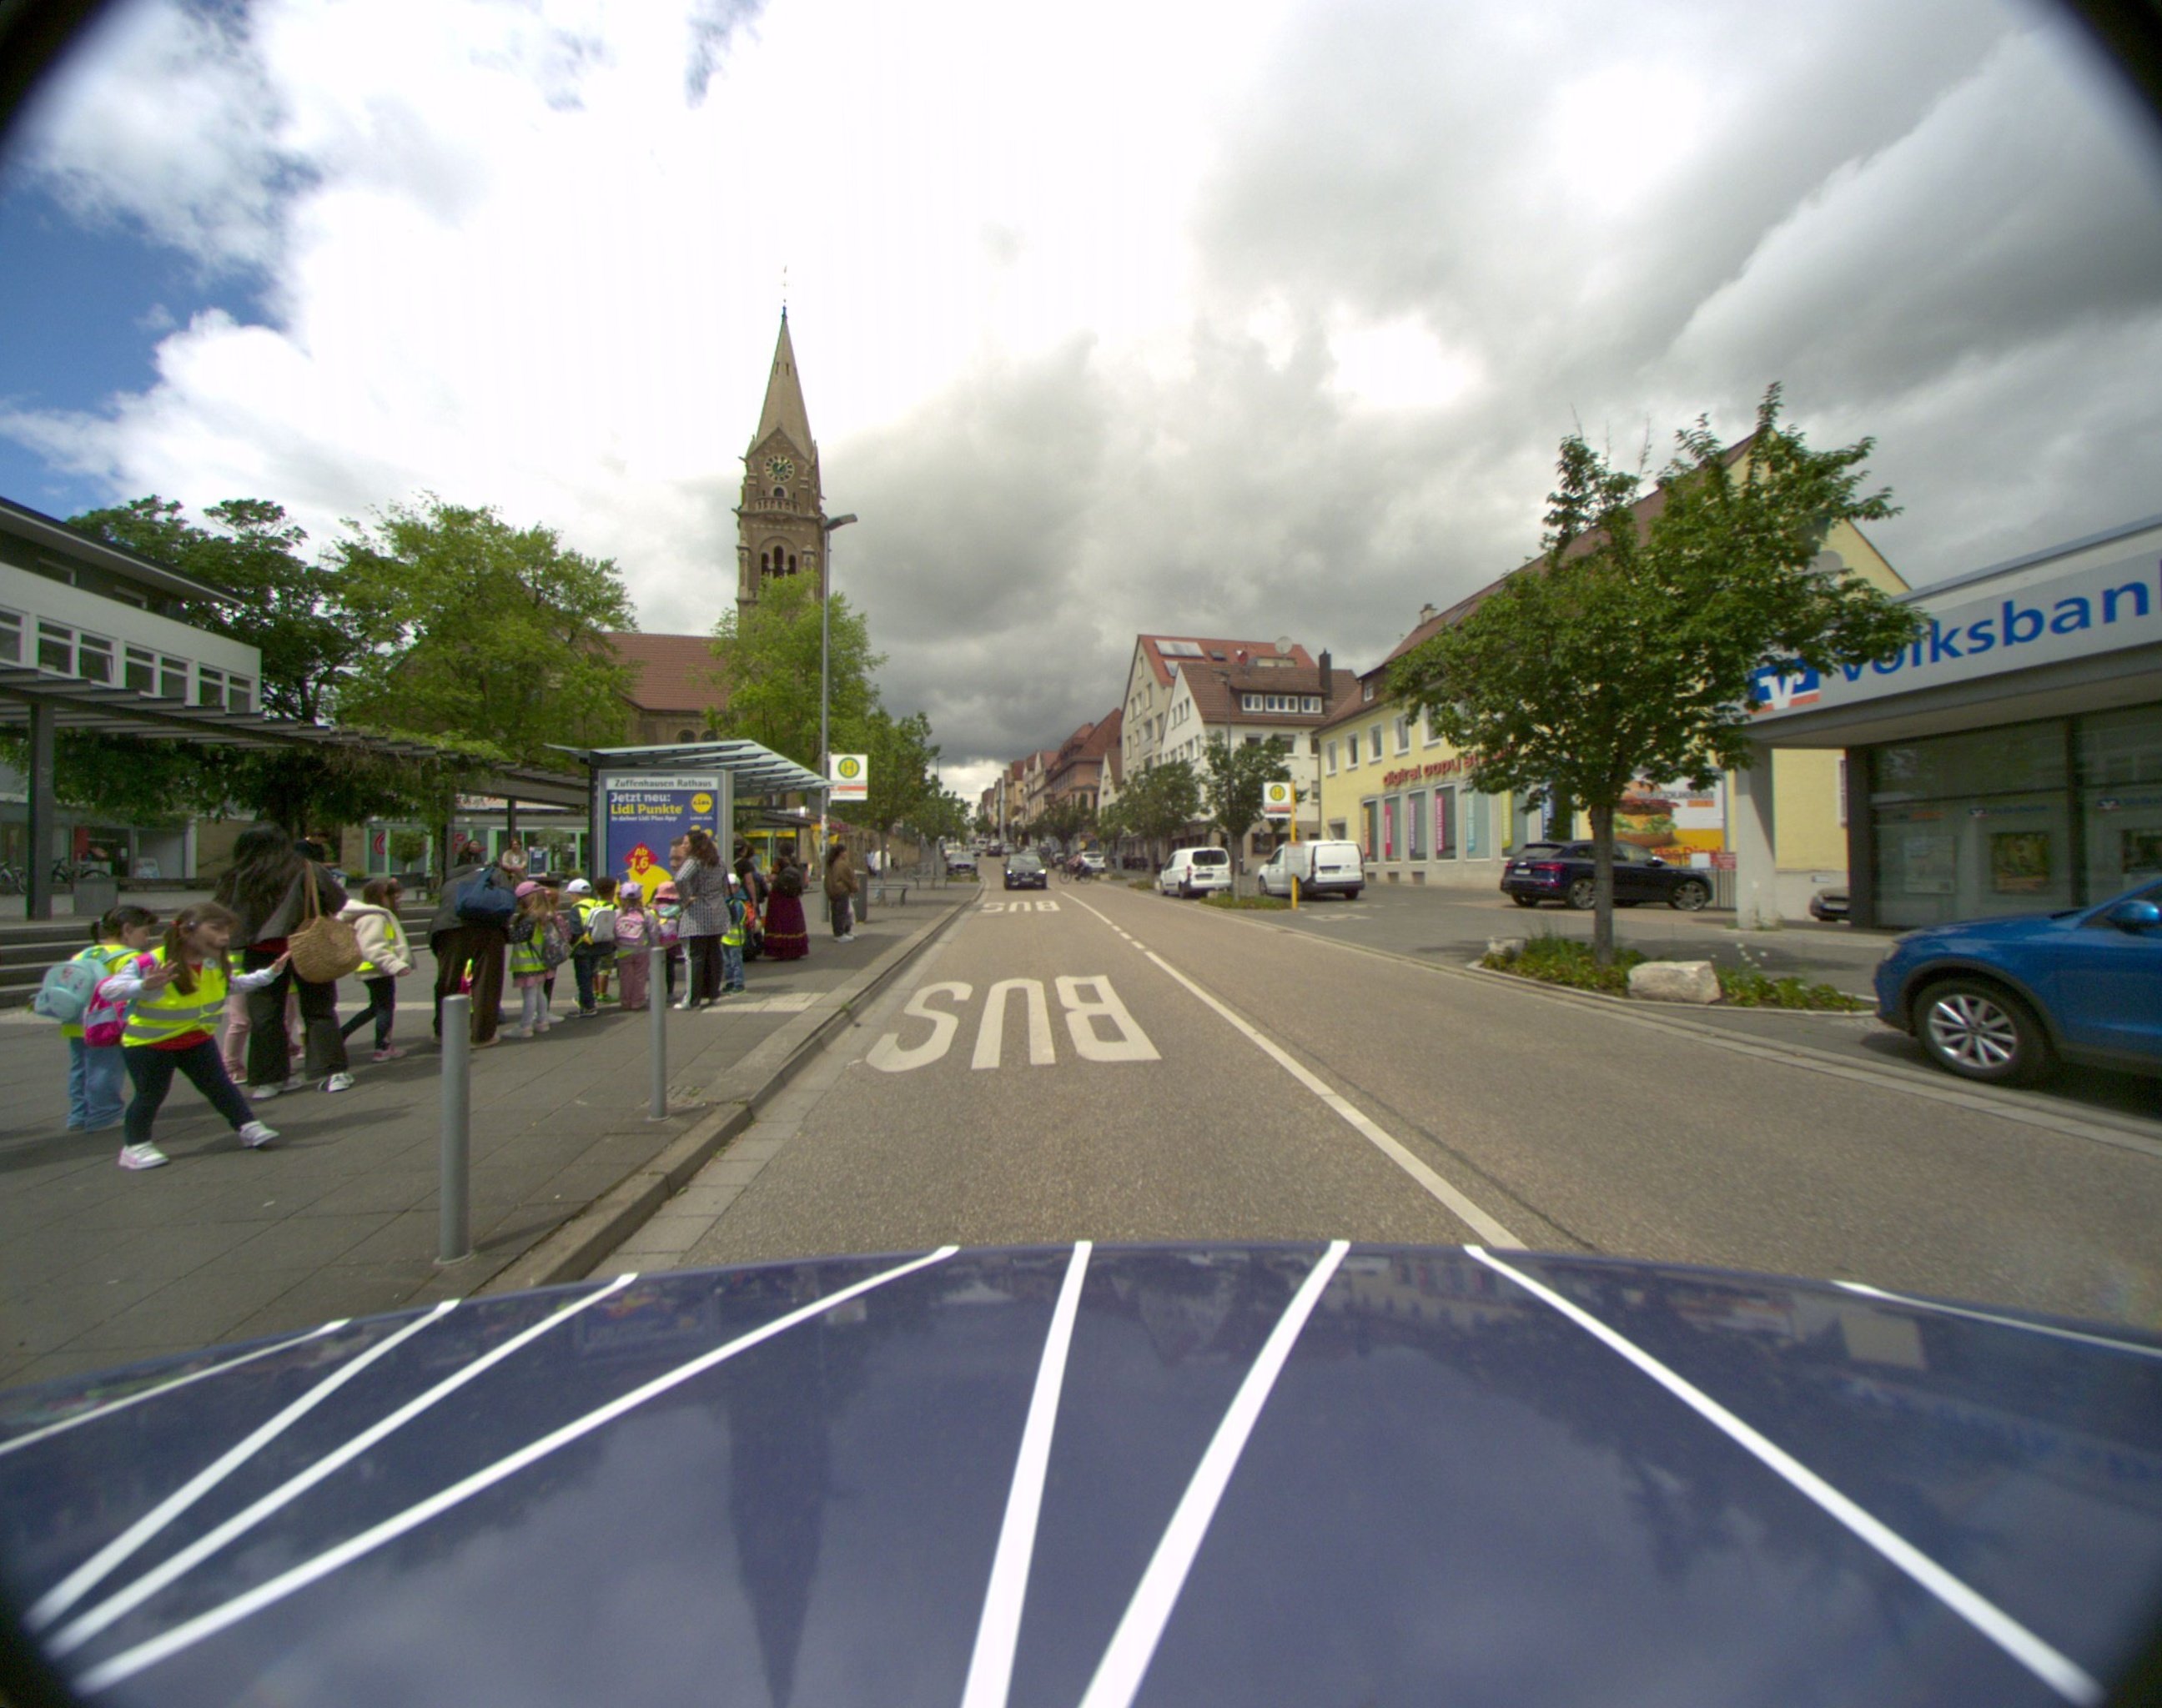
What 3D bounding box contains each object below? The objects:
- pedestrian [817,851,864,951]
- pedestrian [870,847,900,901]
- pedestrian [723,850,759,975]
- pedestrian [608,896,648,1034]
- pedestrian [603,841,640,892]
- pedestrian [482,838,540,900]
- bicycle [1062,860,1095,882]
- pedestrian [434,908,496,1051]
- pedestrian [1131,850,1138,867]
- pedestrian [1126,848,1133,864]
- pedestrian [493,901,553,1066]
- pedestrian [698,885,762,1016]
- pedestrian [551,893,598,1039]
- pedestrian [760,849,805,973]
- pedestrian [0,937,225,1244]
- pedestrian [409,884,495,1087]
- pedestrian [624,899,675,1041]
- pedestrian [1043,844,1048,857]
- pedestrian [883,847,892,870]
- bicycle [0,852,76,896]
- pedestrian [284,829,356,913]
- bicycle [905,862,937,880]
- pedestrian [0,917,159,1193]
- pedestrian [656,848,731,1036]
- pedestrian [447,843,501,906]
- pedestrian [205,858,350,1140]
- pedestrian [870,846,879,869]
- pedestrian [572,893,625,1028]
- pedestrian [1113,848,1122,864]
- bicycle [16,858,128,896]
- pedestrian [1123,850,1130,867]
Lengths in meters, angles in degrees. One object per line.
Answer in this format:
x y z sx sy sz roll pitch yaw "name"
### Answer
-3.826 0.728 12.098 0.542 1.540 0.487 1 1 39 "pedestrian"
-6.144 0.605 23.798 0.686 1.672 0.714 0 1 6 "pedestrian"
-4.302 0.725 9.635 0.395 1.557 0.351 0 1 -22 "pedestrian"
-3.949 0.954 6.621 0.265 1.154 0.270 1 1 -36 "pedestrian"
-11.940 0.323 19.765 0.625 1.300 0.546 0 0 0 "pedestrian"
-12.038 0.306 16.043 0.769 1.262 0.677 -1 1 27 "pedestrian"
-0.123 0.890 39.509 1.655 1.081 0.412 0 3 -19 "bicycle"
-4.791 0.962 5.913 0.251 1.063 0.252 1 1 5 "pedestrian"
4.109 0.333 58.532 0.428 1.242 0.566 -1 1 -10 "pedestrian"
3.825 0.190 59.876 0.396 1.242 0.499 -1 1 -10 "pedestrian"
-4.183 0.947 5.701 0.336 1.160 0.350 1 2 -37 "pedestrian"
-3.427 0.922 7.426 0.403 1.219 0.388 1 1 17 "pedestrian"
-4.211 0.914 6.316 0.250 1.167 0.253 2 1 43 "pedestrian"
-3.887 0.721 9.891 0.502 1.557 0.496 0 1 -26 "pedestrian"
-4.187 0.974 3.299 0.390 1.165 0.477 2 1 10 "pedestrian"
-4.406 0.874 5.338 0.434 1.296 0.597 1 1 -39 "pedestrian"
-3.648 0.967 6.424 0.275 1.145 0.249 2 1 32 "pedestrian"
-4.063 -0.381 87.664 0.497 1.470 0.527 -1 3 -13 "pedestrian"
-13.858 0.328 54.421 0.474 1.636 0.506 1 2 1 "pedestrian"
-32.179 0.593 22.982 2.031 1.300 0.686 2 -1 -38 "bicycle"
-12.195 0.269 12.192 0.569 1.316 0.545 -1 1 4 "pedestrian"
-8.730 0.925 41.480 1.733 0.990 0.345 1 1 -14 "bicycle"
-4.951 0.926 3.679 0.390 1.191 0.512 1 1 20 "pedestrian"
-3.472 0.758 6.804 0.387 1.610 0.470 2 1 43 "pedestrian"
-12.086 0.410 15.144 0.569 1.220 0.566 -1 1 4 "pedestrian"
-4.523 0.785 4.293 0.390 1.508 0.390 1 1 1 "pedestrian"
-14.351 0.242 52.737 0.474 1.636 0.506 1 2 1 "pedestrian"
-4.325 0.933 6.808 0.319 1.145 0.321 1 1 -44 "pedestrian"
3.015 0.171 62.939 0.597 1.240 0.598 -1 2 -10 "pedestrian"
-32.351 0.748 24.417 2.032 1.135 0.686 3 -1 -38 "bicycle"
3.498 0.353 58.221 0.422 1.292 0.453 -1 1 -10 "pedestrian"
